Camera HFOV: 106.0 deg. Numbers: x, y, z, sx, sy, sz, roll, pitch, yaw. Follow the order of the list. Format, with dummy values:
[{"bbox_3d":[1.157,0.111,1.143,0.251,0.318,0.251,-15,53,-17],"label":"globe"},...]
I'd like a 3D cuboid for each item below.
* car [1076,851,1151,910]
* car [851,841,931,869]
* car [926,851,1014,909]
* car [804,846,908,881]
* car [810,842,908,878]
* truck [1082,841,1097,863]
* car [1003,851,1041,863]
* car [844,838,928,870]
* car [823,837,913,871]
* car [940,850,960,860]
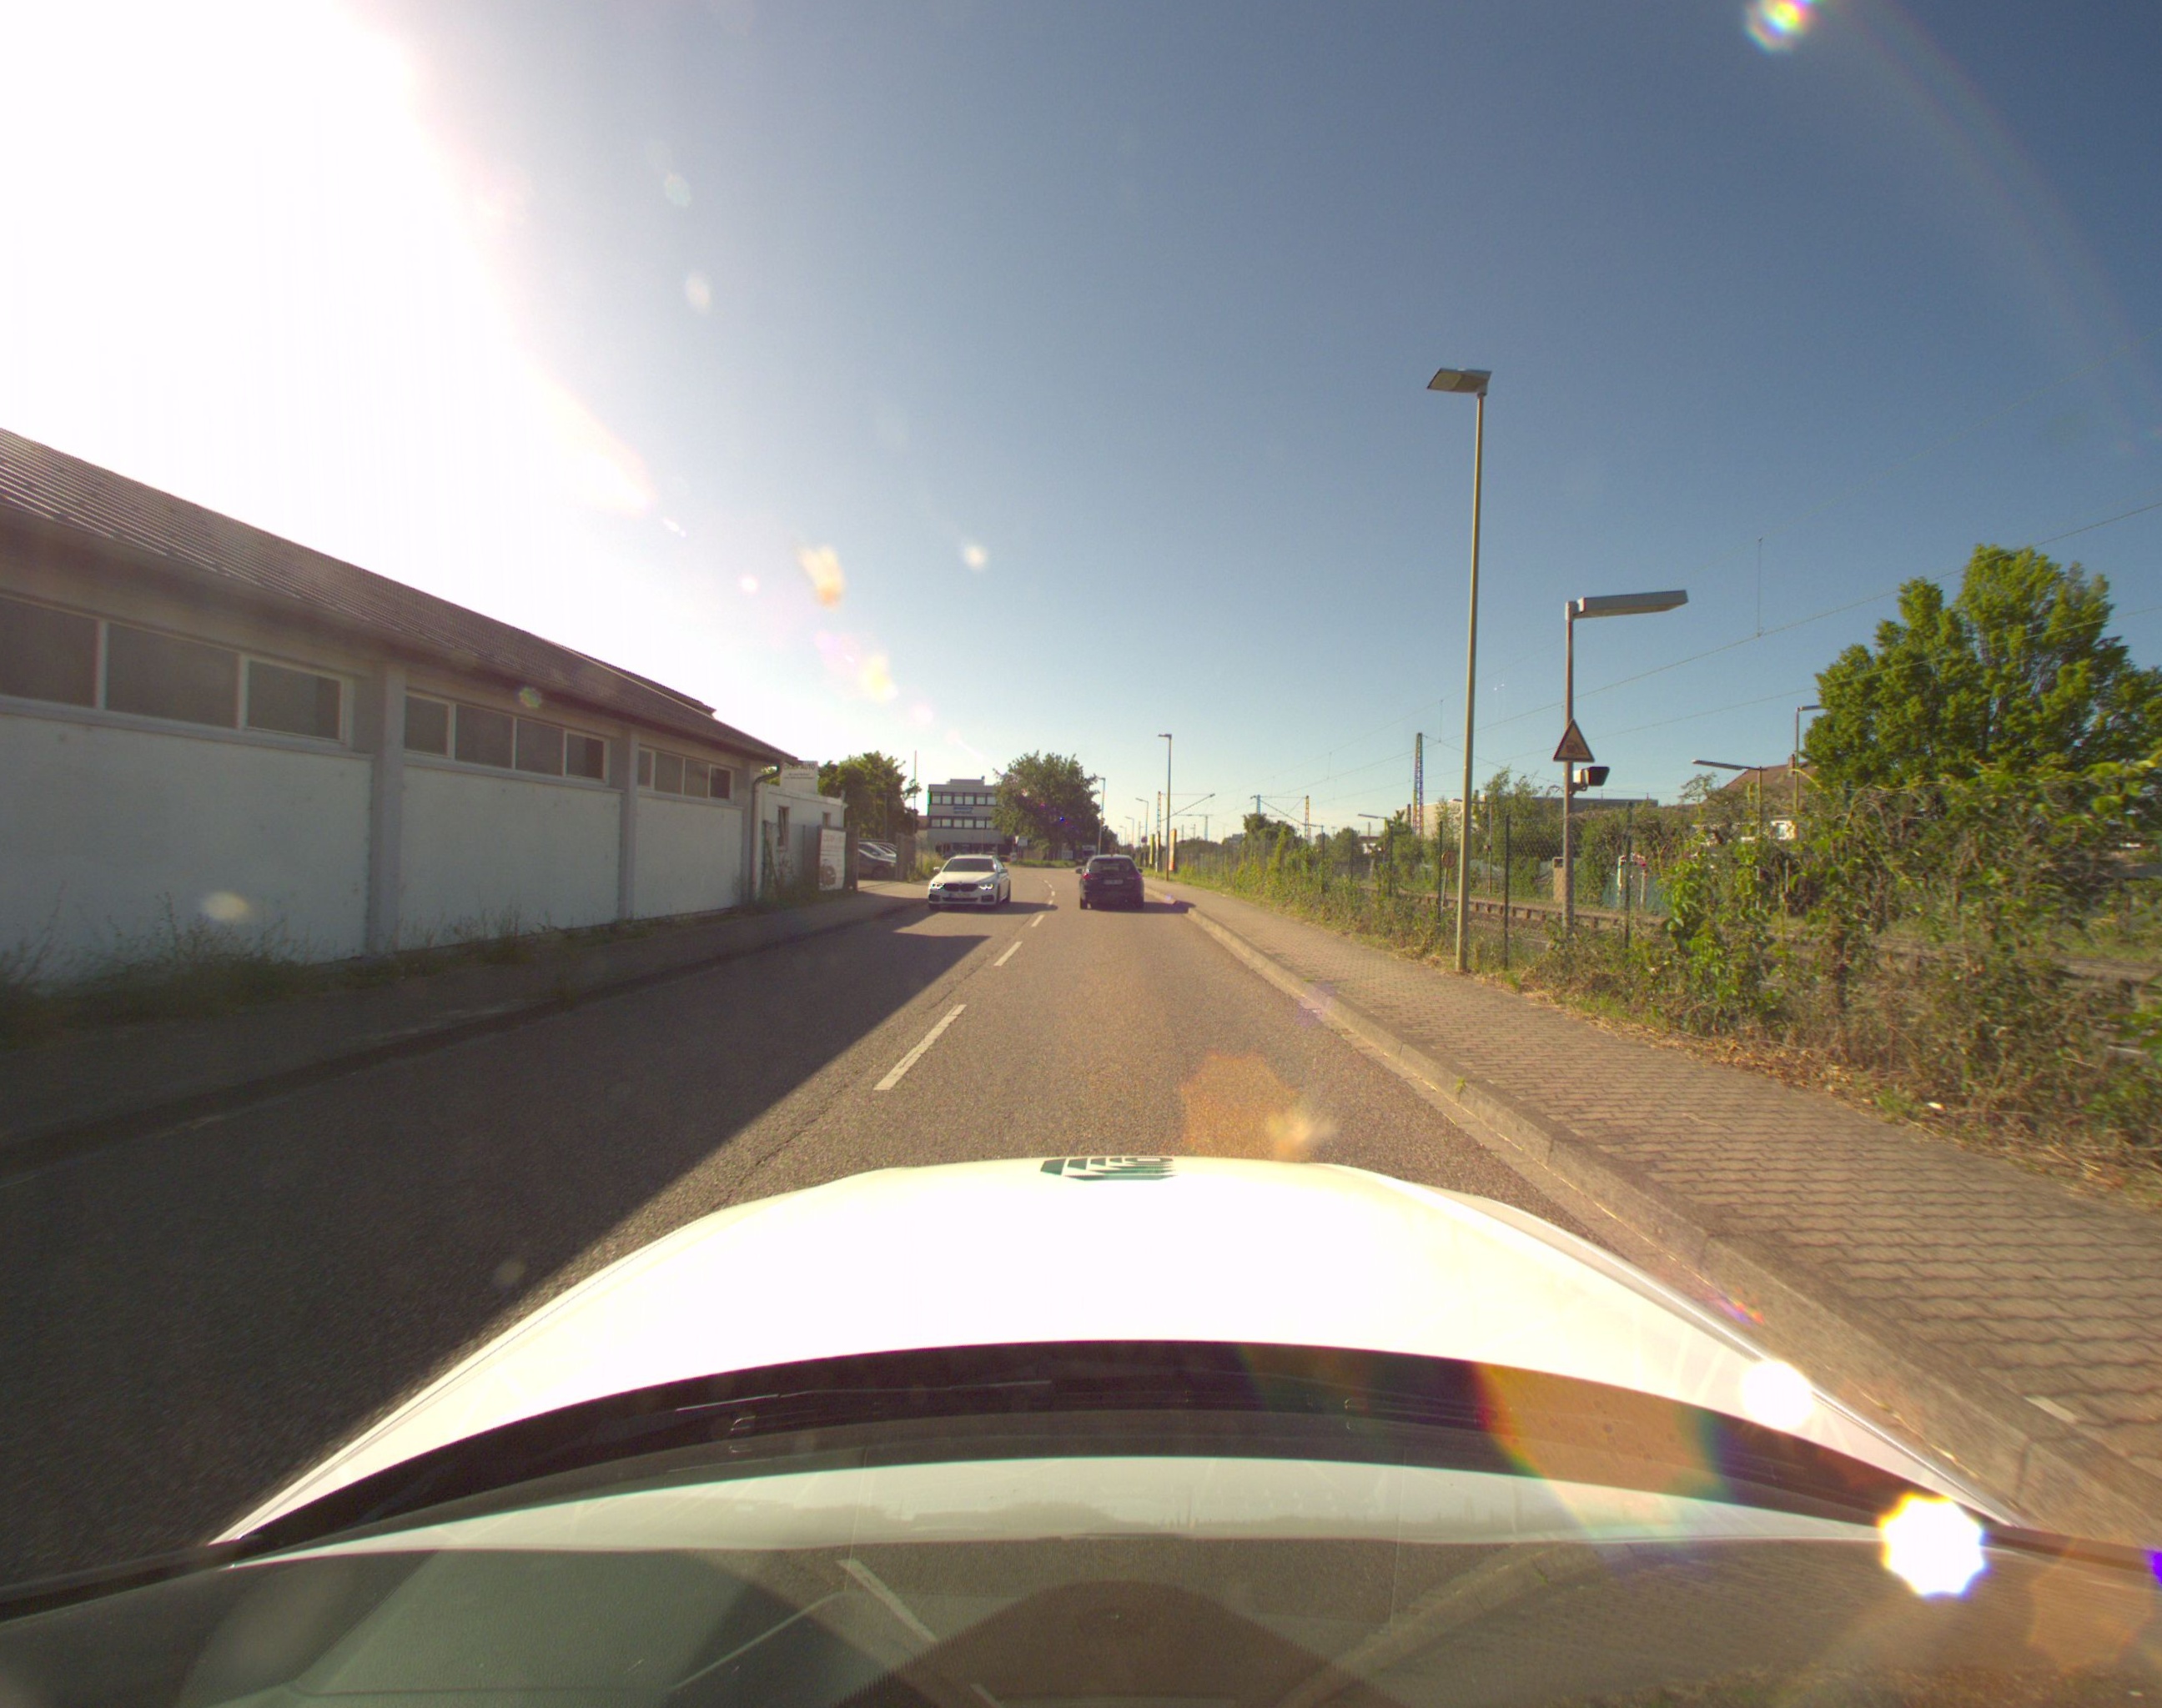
[{"bbox_3d":[0.894,0.694,23.480,1.935,1.488,4.567,0,1,1],"label":"car"},{"bbox_3d":[-11.632,0.054,50.011,4.417,1.648,1.823,1,0,-31],"label":"car"},{"bbox_3d":[-3.082,0.670,23.463,1.802,1.478,4.688,-1,0,1],"label":"car"},{"bbox_3d":[-10.273,0.442,37.528,4.388,1.507,1.835,1,0,-9],"label":"car"},{"bbox_3d":[-10.825,0.285,40.021,4.388,1.648,1.835,1,0,-9],"label":"car"},{"bbox_3d":[1.563,-0.370,157.756,2.605,3.885,13.529,2,0,0],"label":"truck"},{"bbox_3d":[-8.242,0.381,113.601,4.886,1.484,2.004,1,1,6],"label":"car"},{"bbox_3d":[-10.811,0.004,45.341,4.395,1.648,1.832,1,0,-14],"label":"car"},{"bbox_3d":[-10.999,0.006,42.375,4.391,1.648,1.833,1,0,-11],"label":"car"},{"bbox_3d":[-20.094,0.162,125.293,1.984,1.484,4.933,1,1,4],"label":"car"}]
